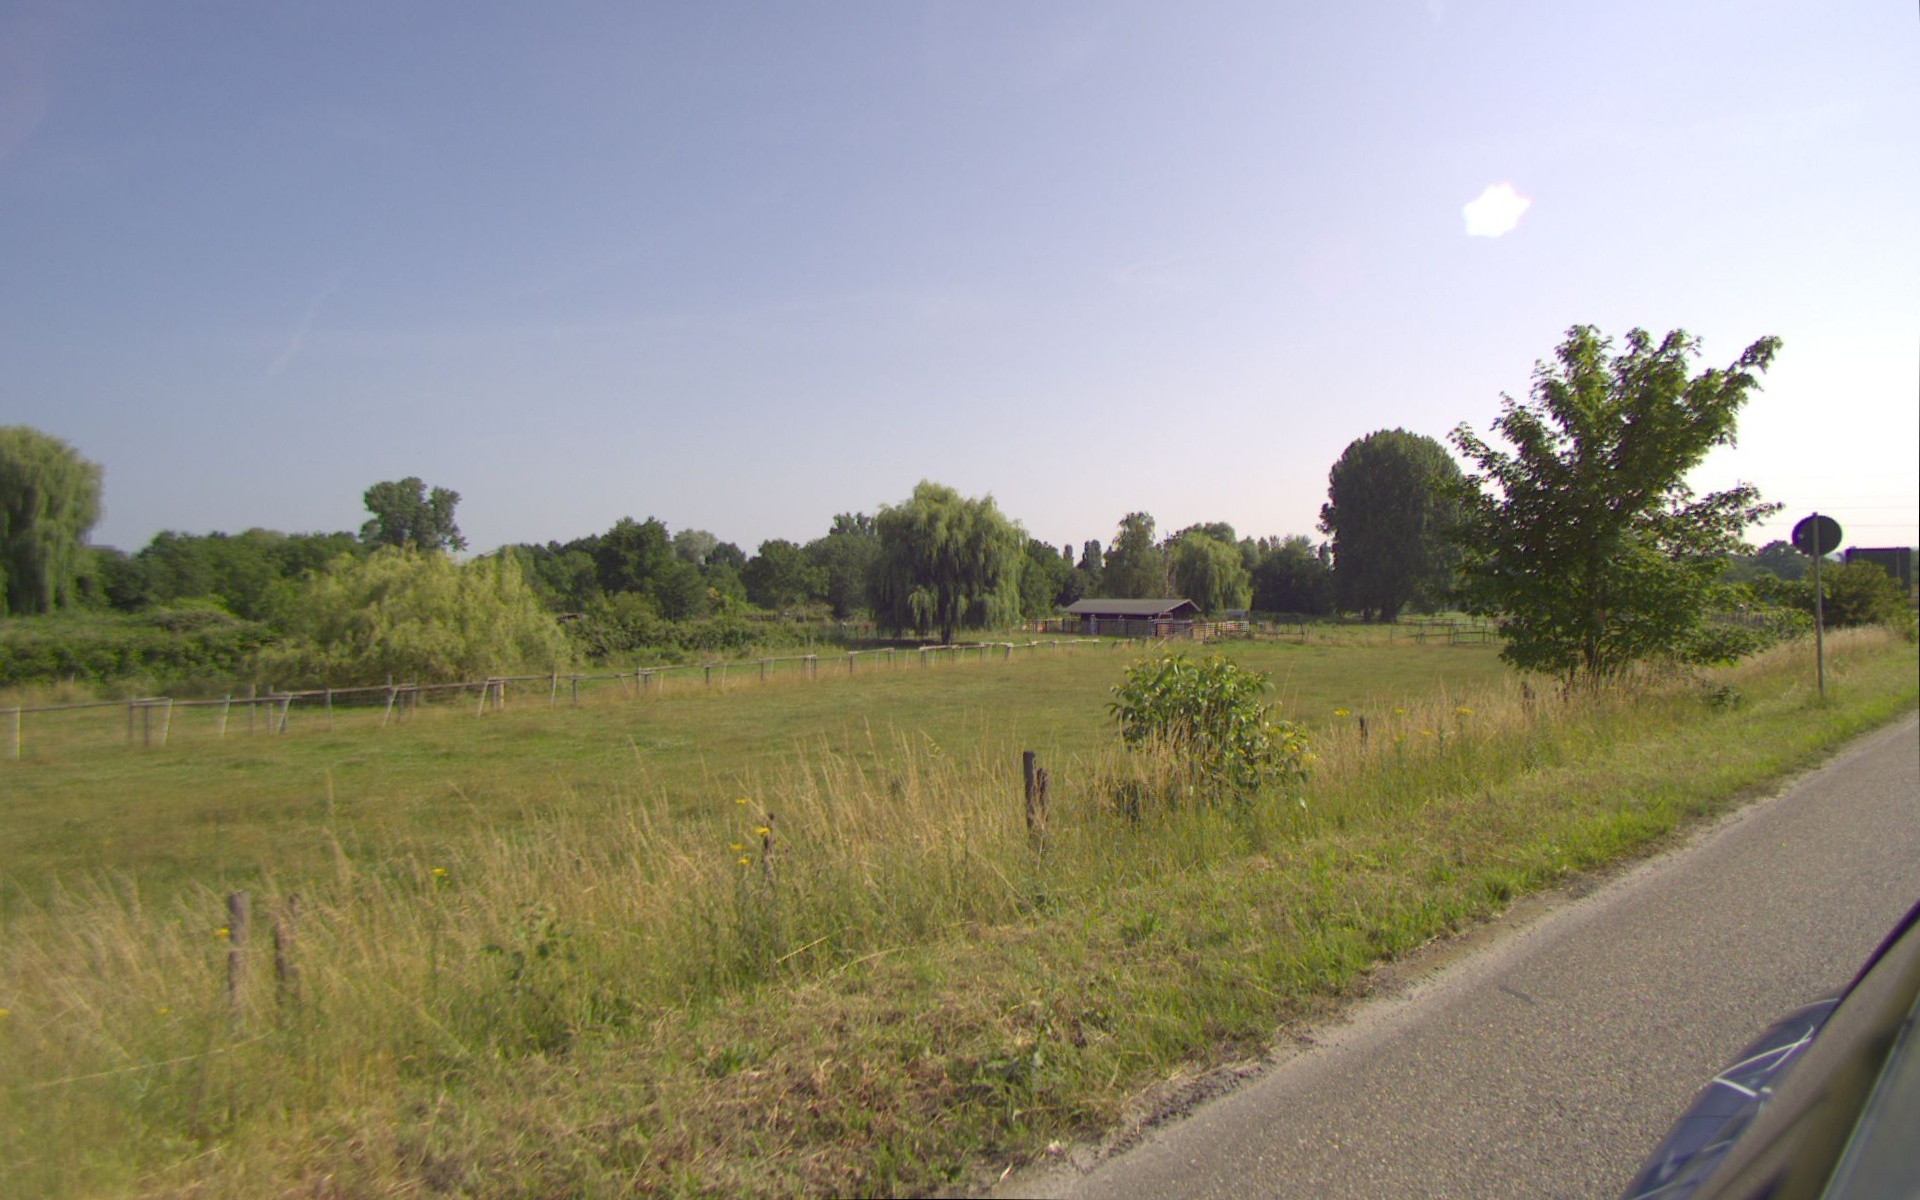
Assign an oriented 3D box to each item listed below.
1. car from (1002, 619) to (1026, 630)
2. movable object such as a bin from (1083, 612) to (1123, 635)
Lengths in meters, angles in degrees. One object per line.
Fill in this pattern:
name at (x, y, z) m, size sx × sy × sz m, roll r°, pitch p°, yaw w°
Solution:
car at (5.622, 2.524, 105.424) m, size 1.219 × 1.018 × 3.016 m, roll -2°, pitch -1°, yaw 33°
movable object such as a bin at (14.090, 2.306, 99.785) m, size 1.990 × 2.222 × 4.103 m, roll -4°, pitch -3°, yaw 40°
